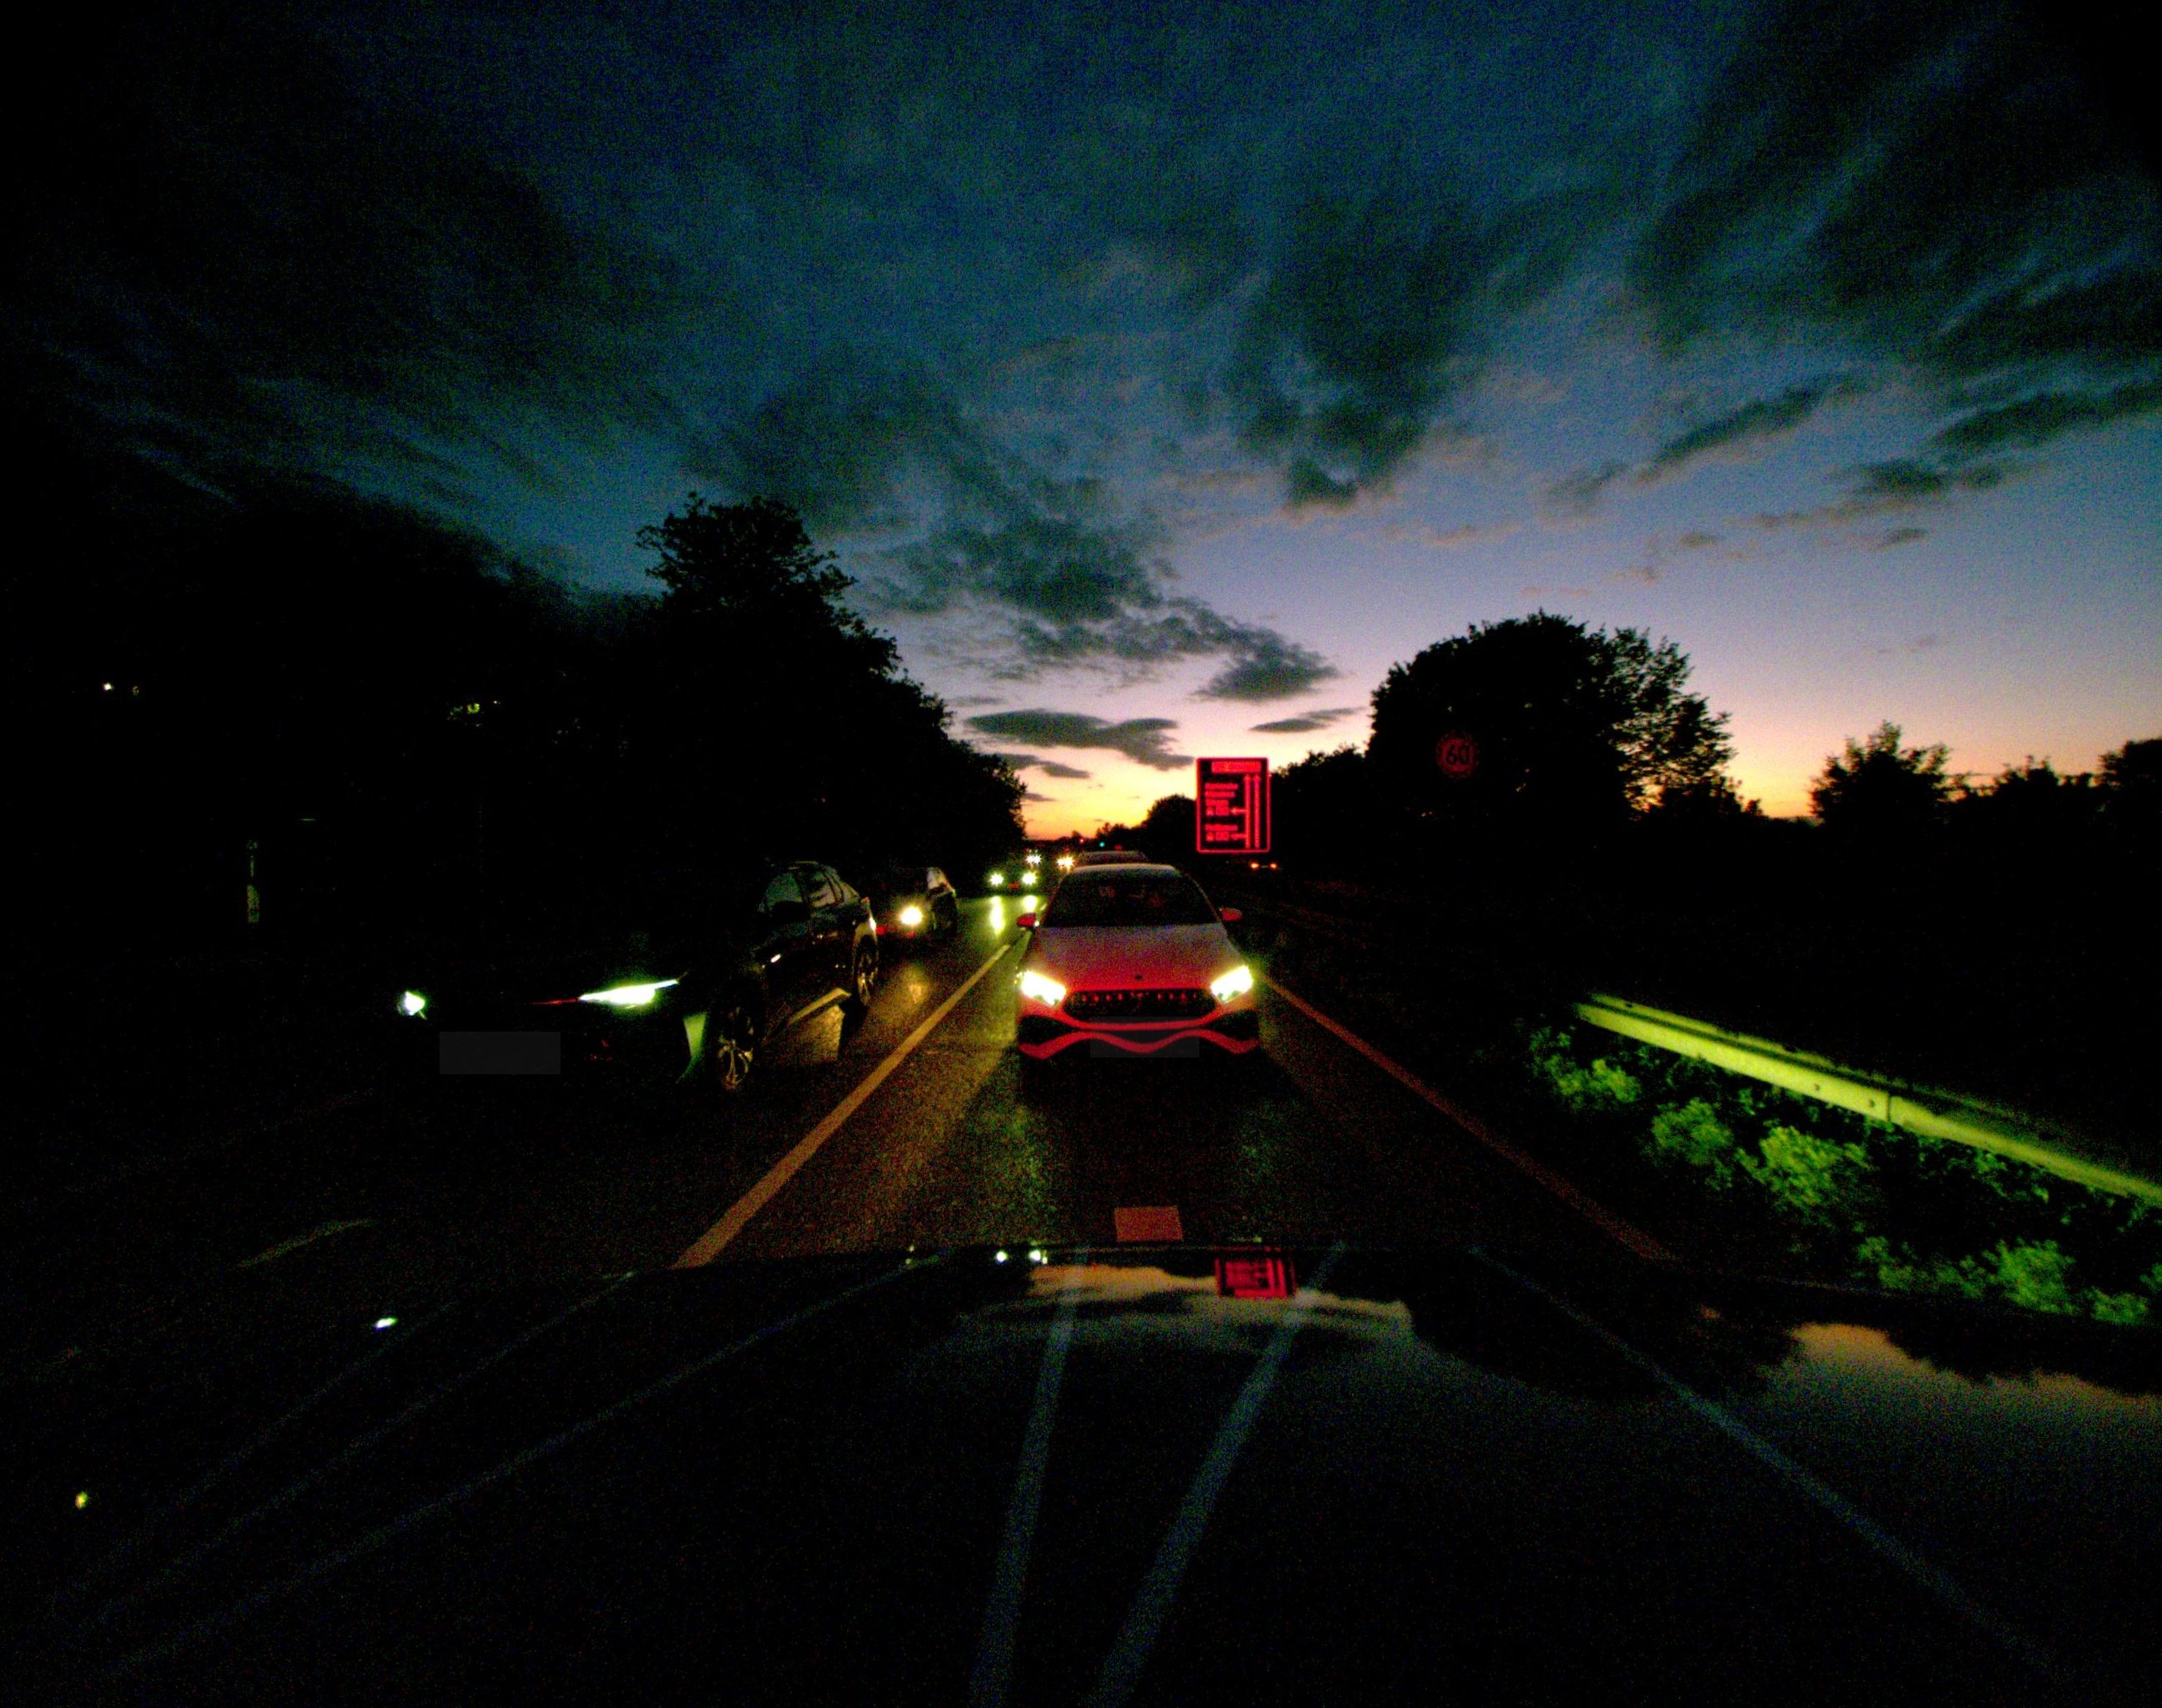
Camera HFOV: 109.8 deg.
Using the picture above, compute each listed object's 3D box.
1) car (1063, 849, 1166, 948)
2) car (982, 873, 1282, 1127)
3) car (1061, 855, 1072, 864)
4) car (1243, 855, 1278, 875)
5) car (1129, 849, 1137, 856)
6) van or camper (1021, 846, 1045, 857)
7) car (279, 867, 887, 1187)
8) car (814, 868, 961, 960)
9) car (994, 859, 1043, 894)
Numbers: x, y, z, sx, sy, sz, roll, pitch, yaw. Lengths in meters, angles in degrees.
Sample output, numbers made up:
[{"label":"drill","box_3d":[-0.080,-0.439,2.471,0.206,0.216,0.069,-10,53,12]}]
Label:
[{"label":"car","box_3d":[0.661,0.800,15.504,1.760,1.692,4.250,-2,0,2]},{"label":"car","box_3d":[0.394,0.991,7.156,1.819,1.428,4.647,-4,0,2]},{"label":"car","box_3d":[-2.297,0.802,120.542,1.606,1.291,3.552,-2,1,-1]},{"label":"car","box_3d":[13.886,0.816,59.050,1.632,1.496,4.591,0,0,0]},{"label":"car","box_3d":[12.824,-0.345,188.510,1.781,1.551,3.999,-2,1,1]},{"label":"van or camper","box_3d":[-14.770,-0.753,231.177,3.958,3.107,9.920,0,0,-26]},{"label":"car","box_3d":[-3.167,0.952,6.128,1.901,1.547,4.301,-3,0,2]},{"label":"car","box_3d":[-3.382,0.995,13.973,1.621,1.405,3.756,-1,0,2]},{"label":"car","box_3d":[-2.827,0.999,35.047,1.819,1.360,3.999,-2,1,1]}]
